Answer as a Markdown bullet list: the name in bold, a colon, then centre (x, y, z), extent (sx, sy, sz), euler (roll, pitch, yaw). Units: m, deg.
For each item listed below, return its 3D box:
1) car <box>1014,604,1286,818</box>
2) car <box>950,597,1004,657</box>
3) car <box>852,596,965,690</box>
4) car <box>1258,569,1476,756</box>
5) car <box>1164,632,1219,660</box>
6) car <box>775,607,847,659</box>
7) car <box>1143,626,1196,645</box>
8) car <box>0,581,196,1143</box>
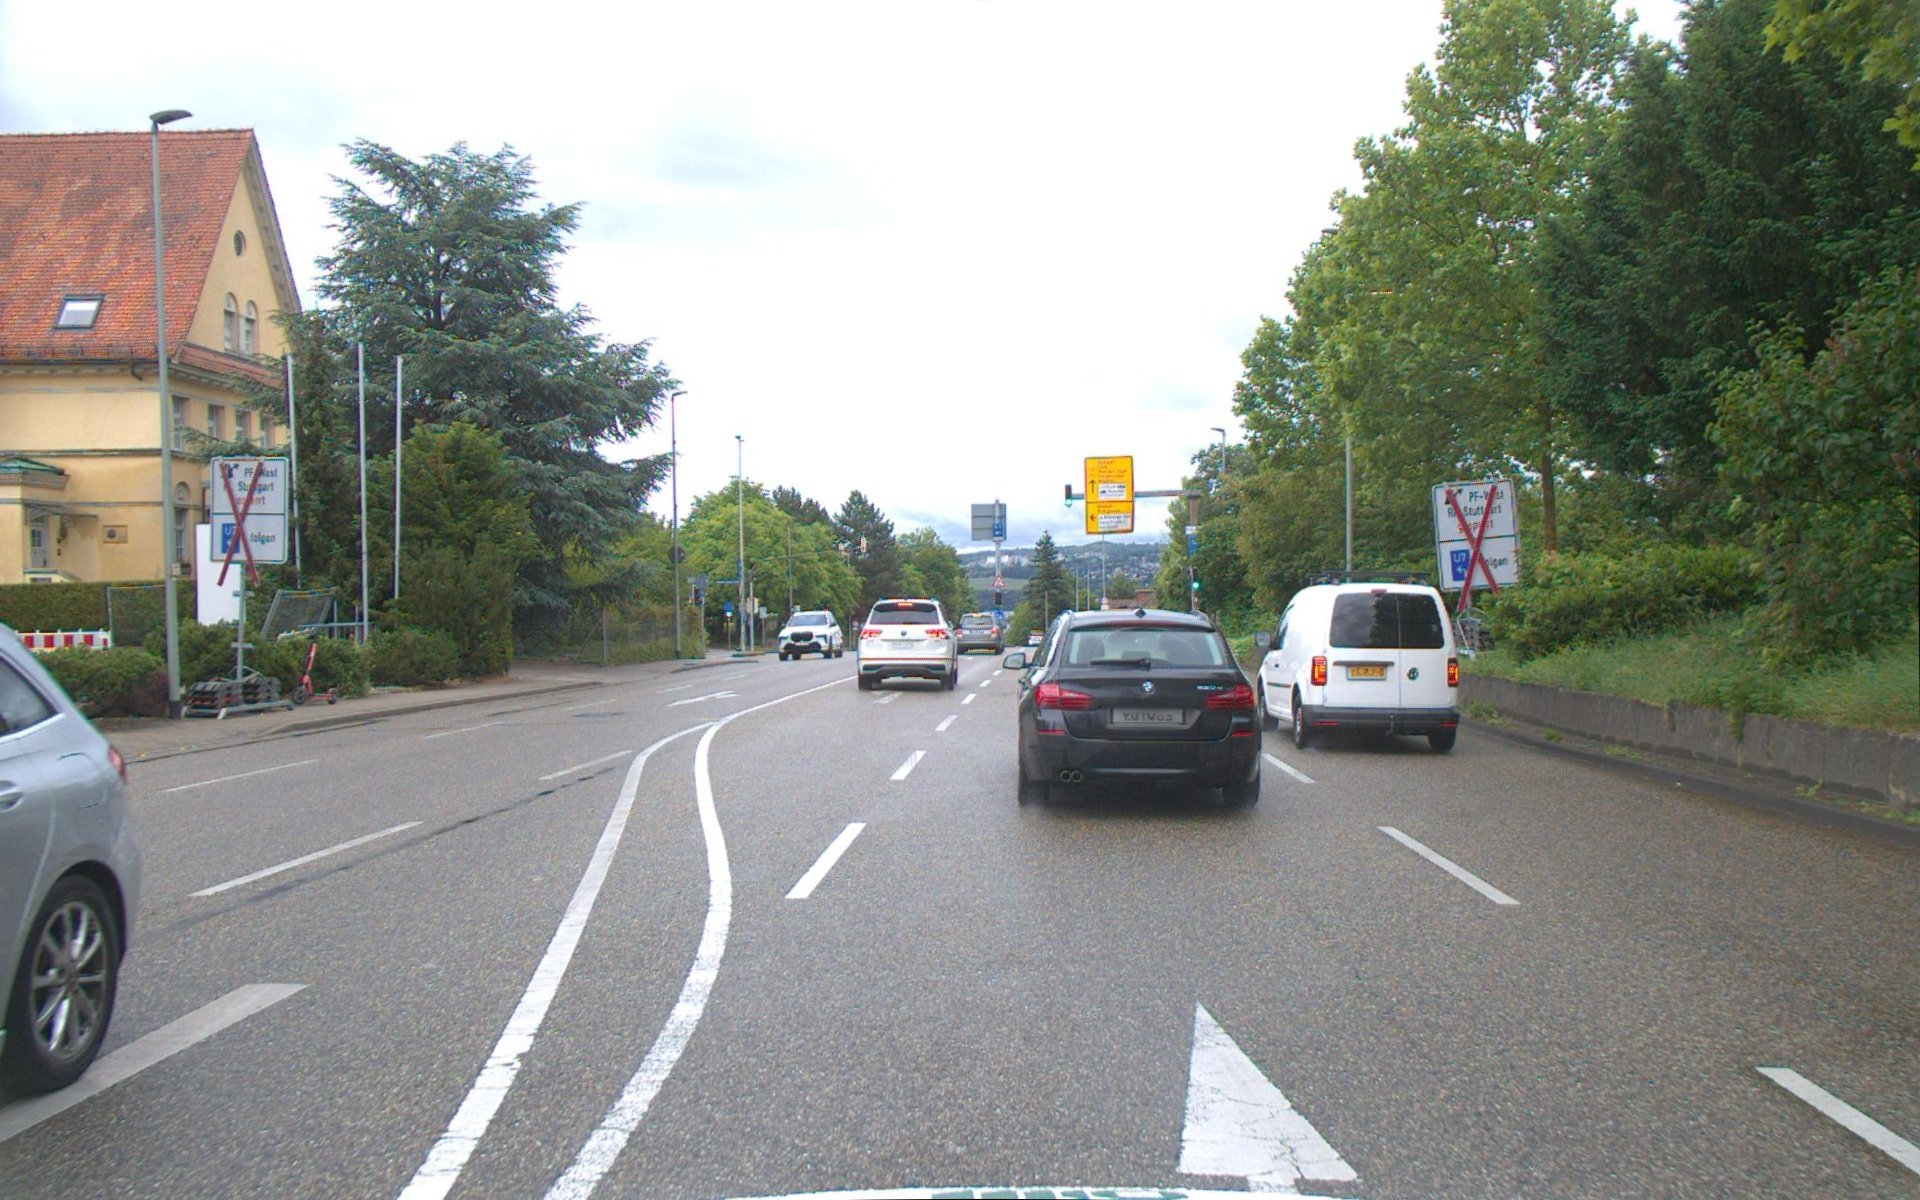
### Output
- **car**: centre (1.420, 0.786, 13.374), extent (1.859, 1.467, 4.001), euler (0, -1, 3)
- **car**: centre (0.656, 0.960, 60.335), extent (1.772, 2.124, 3.851), euler (0, 0, 3)
- **car**: centre (-0.923, 0.771, 31.861), extent (1.829, 1.703, 4.002), euler (0, 0, 3)
- **car**: centre (4.588, 0.620, 19.182), extent (1.728, 1.910, 3.807), euler (0, 2, 2)
- **car**: centre (16.698, 3.294, 119.341), extent (3.902, 1.991, 1.586), euler (0, -1, 7)
- **car**: centre (-5.633, 1.238, 63.104), extent (1.877, 1.793, 5.145), euler (-3, -1, 3)
- **car**: centre (15.744, 2.646, 124.413), extent (3.902, 1.400, 1.586), euler (0, -1, 7)
- **car**: centre (-3.447, 0.729, 3.621), extent (1.715, 1.534, 4.299), euler (-1, 0, -3)
